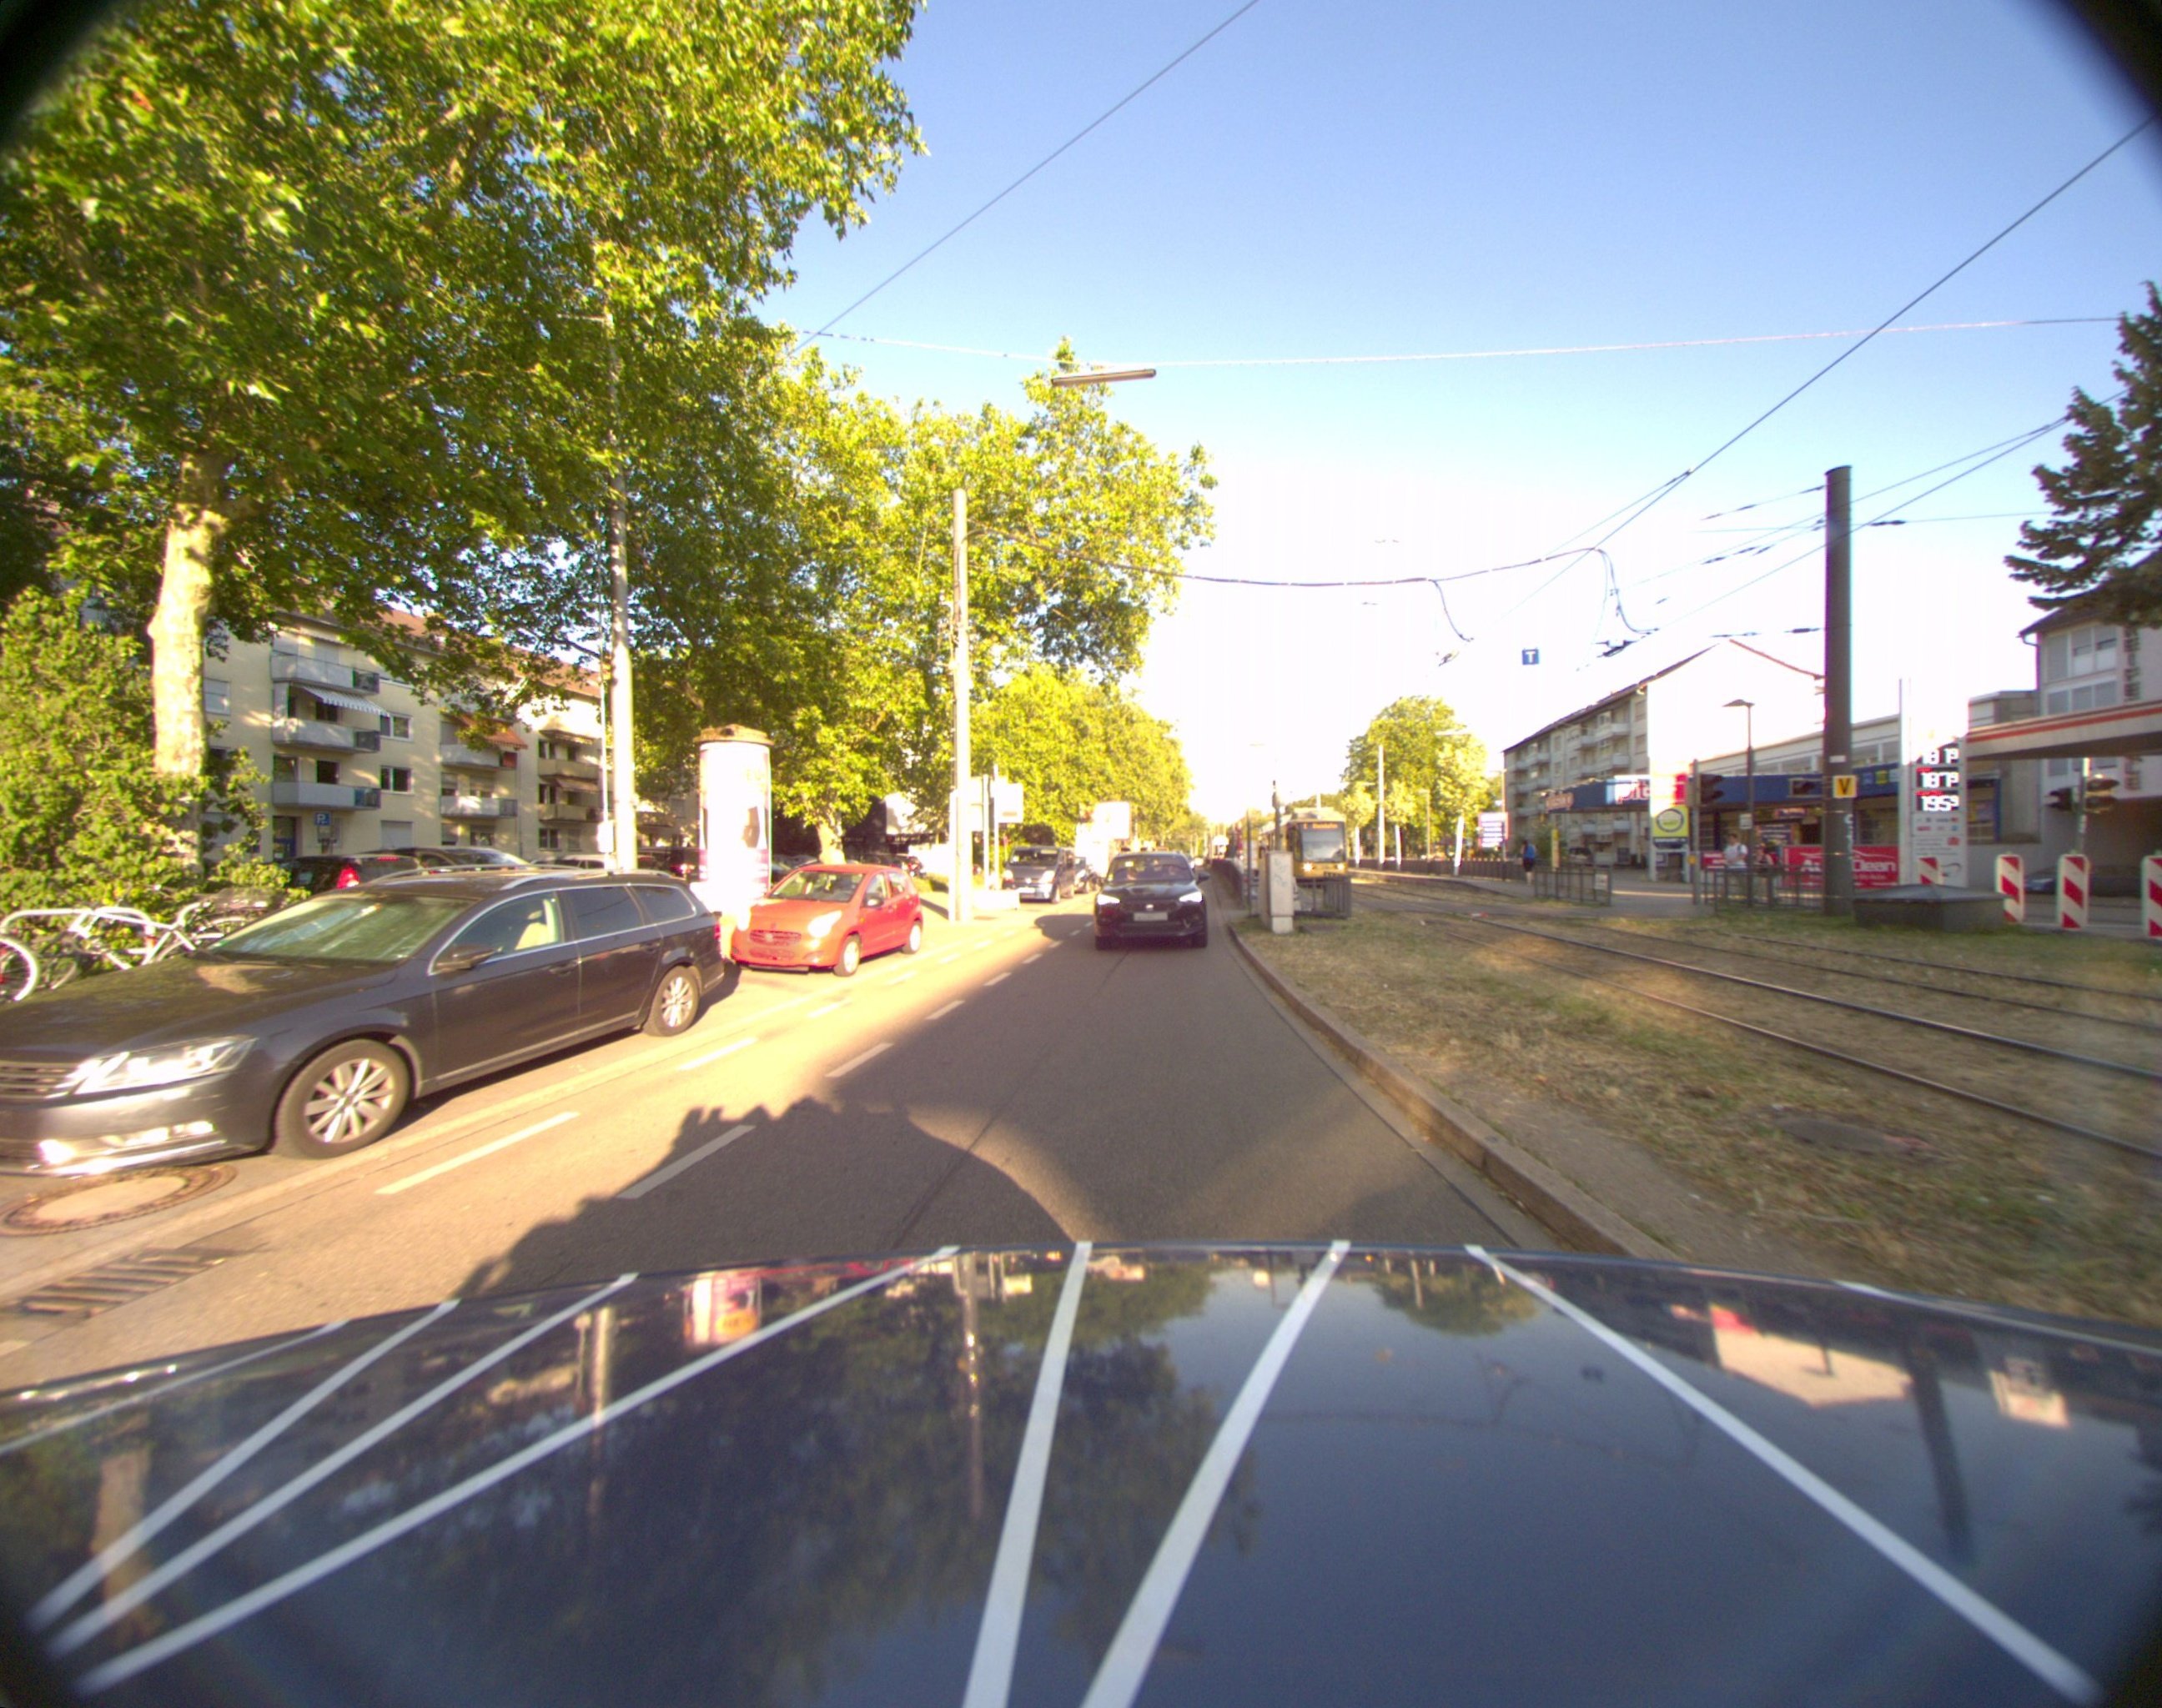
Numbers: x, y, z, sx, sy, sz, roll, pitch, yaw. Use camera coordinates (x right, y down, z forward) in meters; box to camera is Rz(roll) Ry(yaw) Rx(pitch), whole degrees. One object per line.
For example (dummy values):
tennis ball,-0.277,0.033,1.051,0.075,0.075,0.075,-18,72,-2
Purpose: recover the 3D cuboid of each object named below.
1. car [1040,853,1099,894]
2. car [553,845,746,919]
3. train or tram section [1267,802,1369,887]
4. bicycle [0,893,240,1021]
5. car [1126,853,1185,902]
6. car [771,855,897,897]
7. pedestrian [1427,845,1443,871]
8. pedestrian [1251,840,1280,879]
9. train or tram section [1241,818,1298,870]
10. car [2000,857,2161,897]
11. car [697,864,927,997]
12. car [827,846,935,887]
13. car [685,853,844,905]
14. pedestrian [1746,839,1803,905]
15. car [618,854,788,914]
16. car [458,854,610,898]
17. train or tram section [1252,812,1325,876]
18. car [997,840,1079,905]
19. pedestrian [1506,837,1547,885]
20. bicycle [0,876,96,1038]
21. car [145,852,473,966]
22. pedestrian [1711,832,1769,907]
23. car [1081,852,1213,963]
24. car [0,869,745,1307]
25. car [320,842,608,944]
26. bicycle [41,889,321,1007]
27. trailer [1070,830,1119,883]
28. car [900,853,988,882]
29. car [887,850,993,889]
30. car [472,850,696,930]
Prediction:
car,-0.419,0.773,32.395,1.799,1.621,4.003,0,0,9
car,-10.734,0.680,19.029,3.847,1.622,1.858,-2,0,10
train or tram section,11.090,-0.480,36.695,3.041,3.497,10.102,1,1,8
bicycle,-8.846,0.894,6.831,1.585,1.008,0.650,0,1,-29
car,2.906,0.824,28.857,1.888,1.656,4.856,-1,0,9
car,-9.199,0.802,28.472,4.119,1.486,1.804,0,0,10
pedestrian,26.884,0.296,57.697,0.754,1.871,1.001,-3,0,8
pedestrian,7.405,0.221,30.526,0.918,1.541,0.789,-2,1,1
train or tram section,13.898,-0.775,56.695,3.041,3.497,10.102,1,1,8
car,39.323,0.876,29.826,3.800,1.514,1.819,0,0,12
car,-3.674,0.956,11.092,1.572,1.486,3.628,2,1,9
car,-8.725,0.543,33.275,4.119,1.541,1.804,-3,0,10
car,-9.602,0.739,23.180,4.119,1.486,1.804,0,0,10
pedestrian,18.610,0.474,20.405,0.754,1.737,0.861,0,1,6
car,-10.346,0.820,20.927,3.847,1.427,1.804,-2,-1,10
car,-20.079,0.797,28.008,4.290,1.526,2.001,0,0,7
train or tram section,12.498,-0.623,46.697,3.041,3.497,10.102,1,1,8
car,-1.378,0.576,26.482,1.888,2.066,4.566,0,0,9
pedestrian,15.869,0.245,27.075,0.936,1.644,0.926,-3,0,9
bicycle,-8.874,0.799,5.760,1.586,1.219,0.646,-1,1,-38
car,-11.883,0.809,11.828,3.504,1.474,1.775,-3,0,8
pedestrian,17.126,0.394,19.763,0.859,1.921,0.756,0,1,7
car,1.162,0.808,13.442,1.910,1.606,4.087,-3,0,5
car,-4.563,0.957,5.369,1.699,1.522,4.655,2,1,9
car,-11.417,0.704,14.210,4.029,1.591,1.857,-3,0,8
bicycle,-8.928,0.890,7.649,1.682,1.008,0.650,0,1,-29
trailer,0.792,0.106,39.602,1.888,2.573,4.654,0,0,9
car,-7.399,0.721,41.207,4.290,1.487,2.001,-1,0,5
car,-6.045,0.649,32.803,4.119,1.589,1.804,0,0,10
car,-10.894,0.773,16.786,3.847,1.486,1.858,-3,0,10
